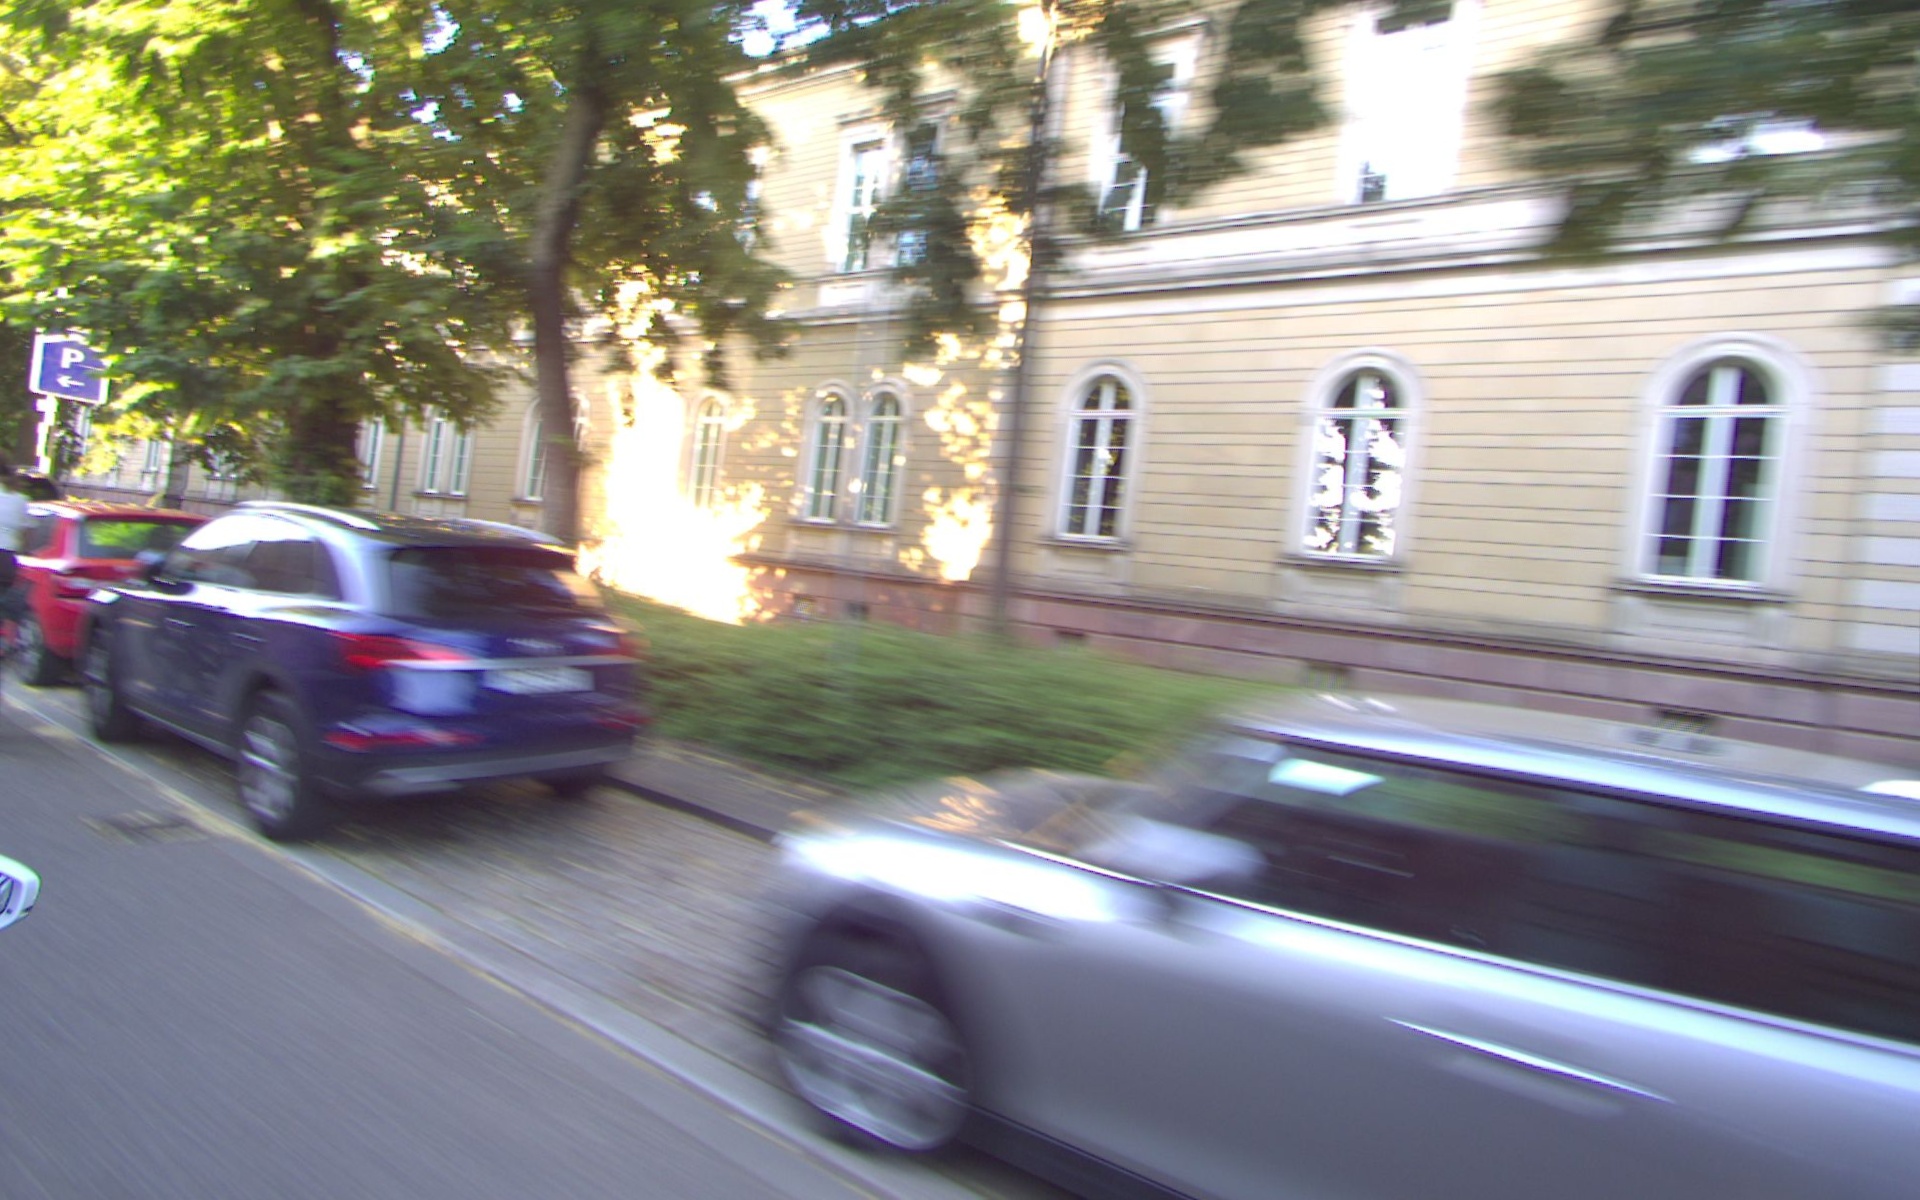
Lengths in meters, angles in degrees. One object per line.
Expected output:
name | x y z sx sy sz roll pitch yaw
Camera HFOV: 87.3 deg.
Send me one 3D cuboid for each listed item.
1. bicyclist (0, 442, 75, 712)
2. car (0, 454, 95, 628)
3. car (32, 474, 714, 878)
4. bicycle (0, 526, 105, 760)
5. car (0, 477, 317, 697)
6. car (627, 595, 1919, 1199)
bicyclist | -6.272 -0.189 6.277 1.021 1.632 0.752 7 1 32
car | -12.452 -0.857 12.155 4.870 1.835 1.805 6 -1 35
car | -3.932 0.236 6.422 4.621 1.708 1.882 6 -1 35
bicycle | -6.313 0.168 6.309 2.173 1.268 0.752 7 0 32
car | -7.868 -0.178 9.225 3.904 1.608 1.726 6 -1 32
car | 1.124 0.939 2.848 3.935 1.456 1.726 6 -1 32
